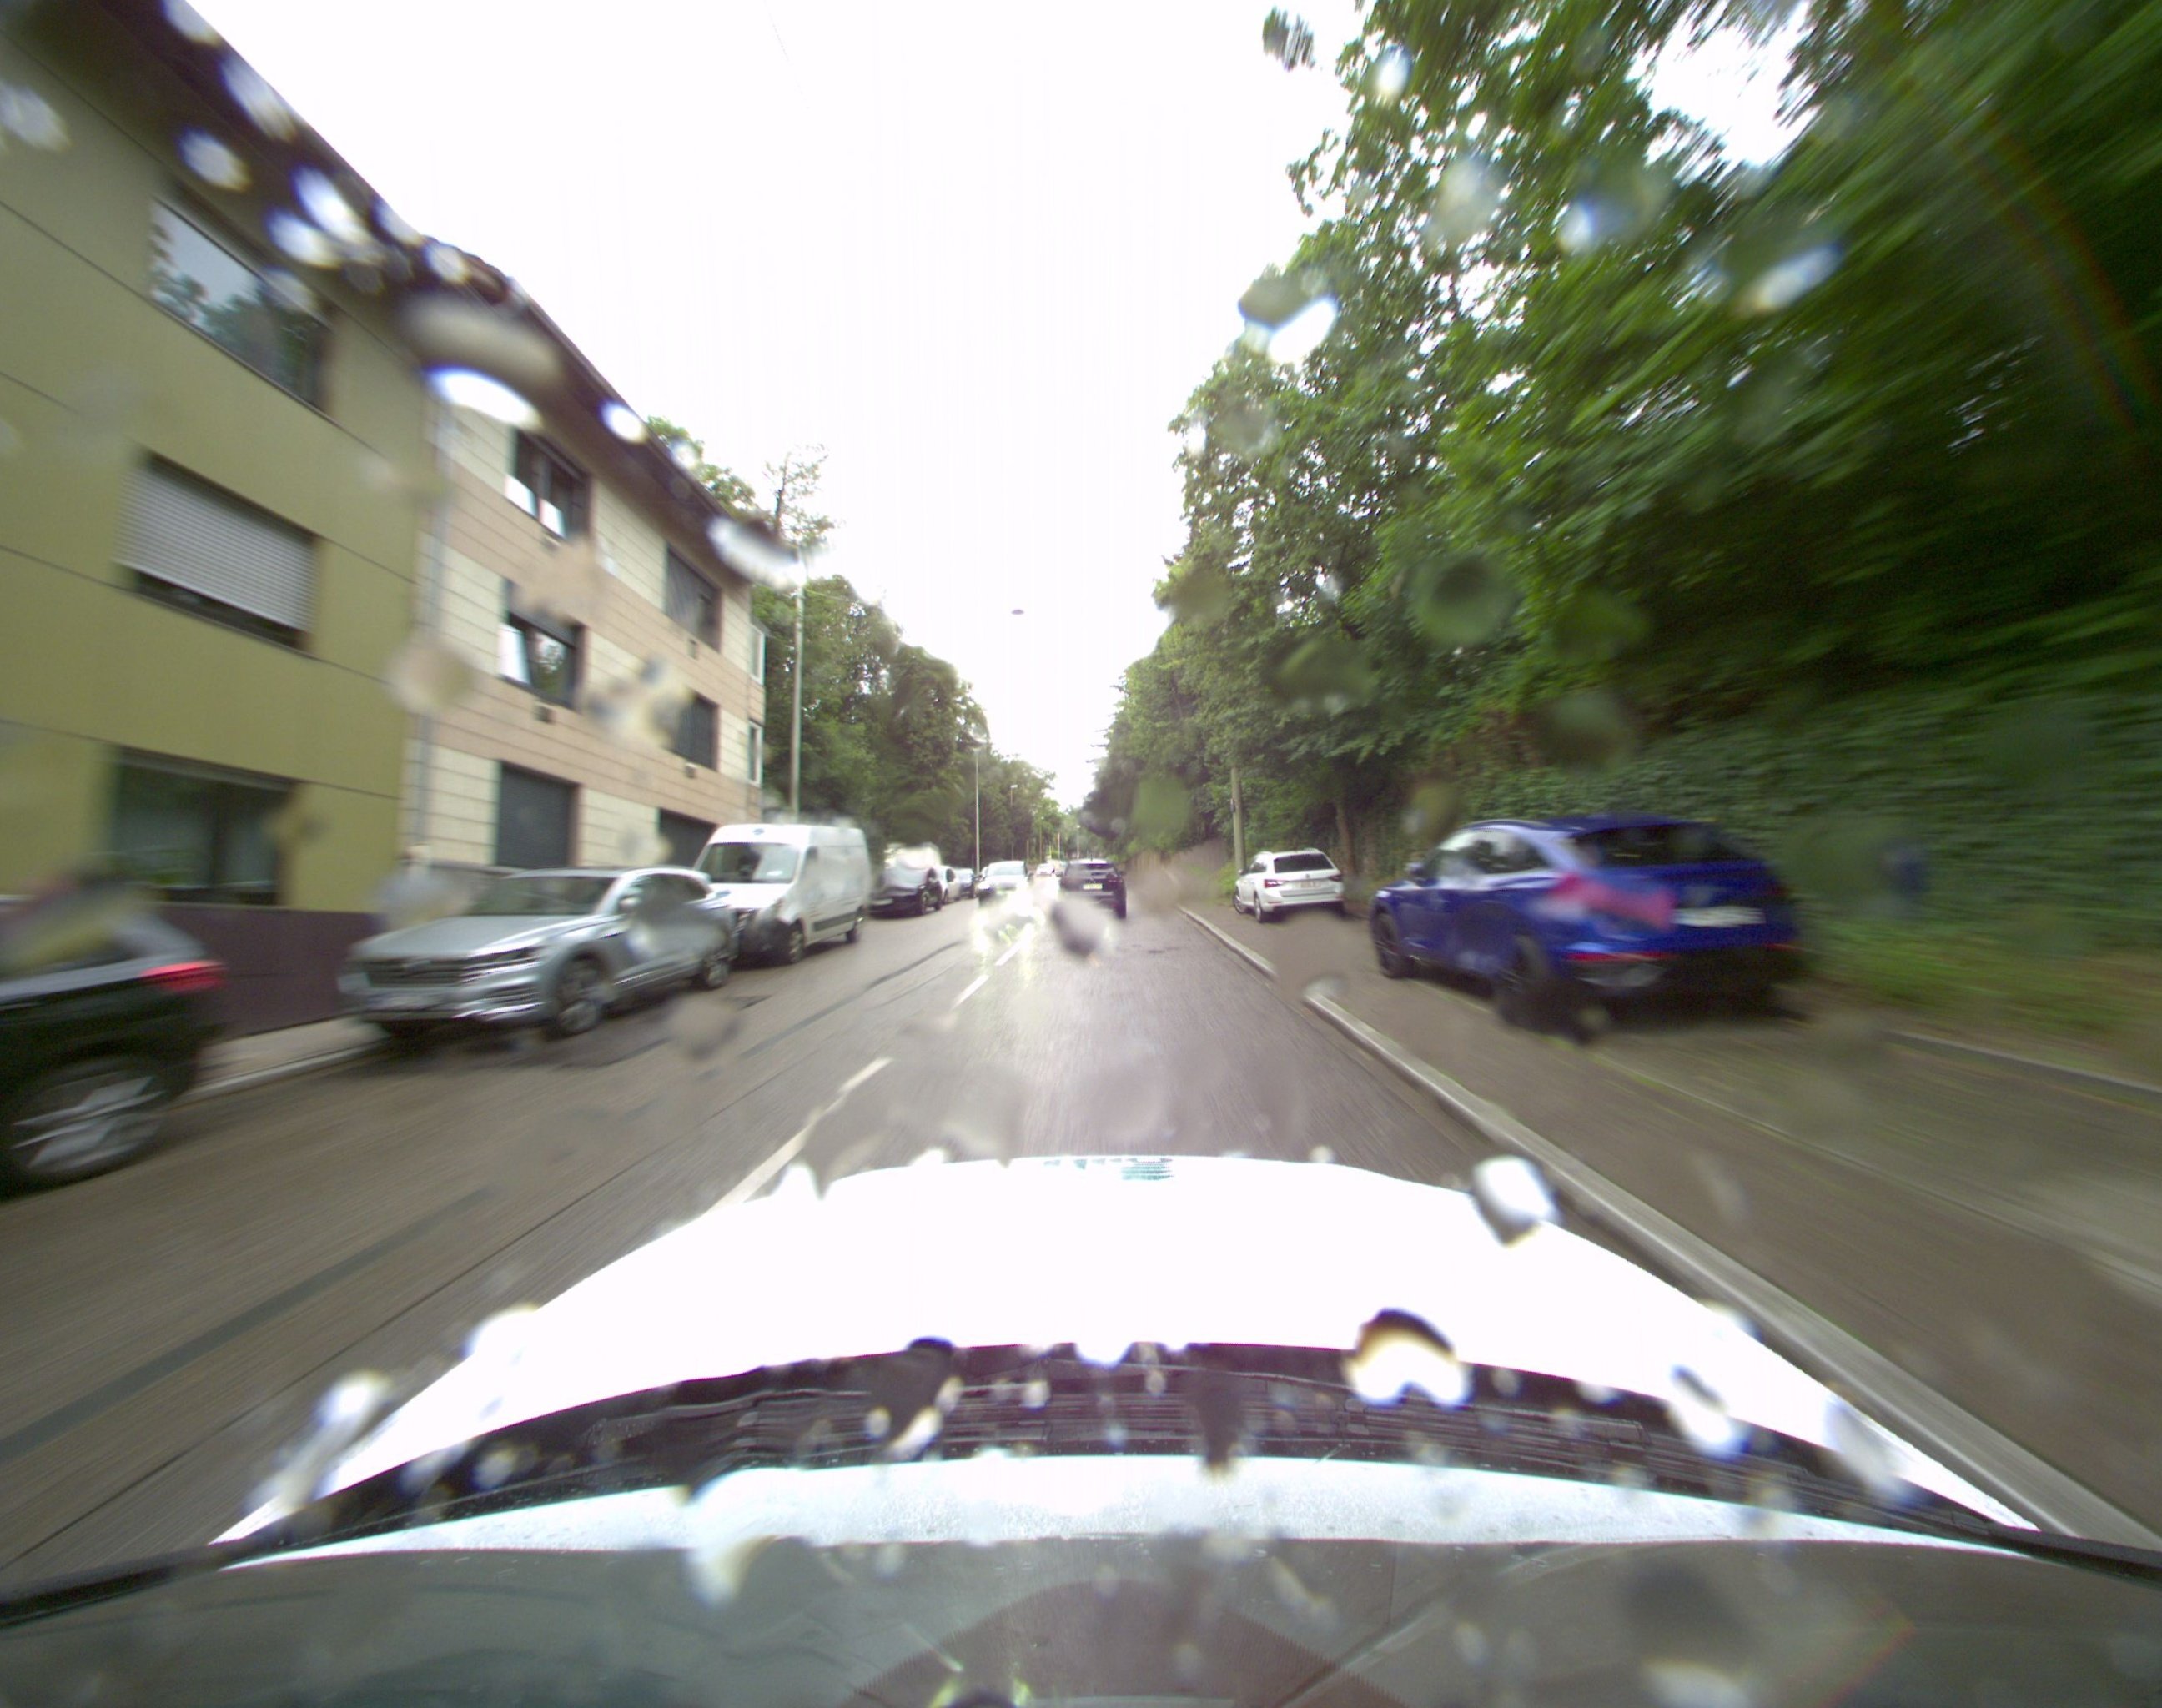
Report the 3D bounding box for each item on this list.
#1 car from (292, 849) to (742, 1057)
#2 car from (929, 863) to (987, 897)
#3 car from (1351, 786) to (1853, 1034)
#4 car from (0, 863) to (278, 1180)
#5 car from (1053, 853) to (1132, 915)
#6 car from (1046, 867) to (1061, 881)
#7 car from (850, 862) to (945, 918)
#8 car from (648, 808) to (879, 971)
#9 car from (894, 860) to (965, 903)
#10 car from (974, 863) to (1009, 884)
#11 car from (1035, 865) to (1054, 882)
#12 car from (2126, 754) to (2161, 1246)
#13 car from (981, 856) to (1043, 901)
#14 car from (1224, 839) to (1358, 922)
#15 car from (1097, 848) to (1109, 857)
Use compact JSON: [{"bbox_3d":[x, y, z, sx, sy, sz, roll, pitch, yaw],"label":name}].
[{"bbox_3d":[-5.929,0.876,9.459,1.983,1.755,4.481,-2,0,1],"label":"car"},{"bbox_3d":[-5.899,1.212,39.478,1.983,1.384,4.458,-2,0,1],"label":"car"},{"bbox_3d":[4.223,0.387,7.662,1.805,1.530,4.416,-4,0,0],"label":"car"},{"bbox_3d":[-6.481,0.894,3.347,1.983,1.585,4.306,-2,0,1],"label":"car"},{"bbox_3d":[0.369,0.764,22.911,1.986,1.559,4.002,-1,0,2],"label":"car"},{"bbox_3d":[-3.946,2.859,117.847,1.987,1.948,3.999,-1,-2,0],"label":"car"},{"bbox_3d":[-5.923,1.117,26.908,1.983,1.566,4.458,-2,0,1],"label":"car"},{"bbox_3d":[-5.689,0.557,15.651,1.983,2.475,5.785,-2,0,1],"label":"car"},{"bbox_3d":[-6.175,1.084,33.667,1.983,1.566,4.458,-2,0,1],"label":"car"},{"bbox_3d":[-6.515,1.412,59.890,1.983,1.384,4.458,-2,0,1],"label":"car"},{"bbox_3d":[-4.156,2.247,92.864,1.987,1.948,3.999,-1,-2,0],"label":"car"},{"bbox_3d":[4.073,0.438,0.578,1.626,1.530,4.003,-1,0,3],"label":"car"},{"bbox_3d":[-2.572,0.893,31.151,1.987,1.559,4.000,-1,0,0],"label":"car"},{"bbox_3d":[4.592,0.545,18.491,1.805,1.530,4.416,-4,0,0],"label":"car"},{"bbox_3d":[4.337,-0.297,160.620,1.985,1.560,4.004,-3,-2,4],"label":"car"}]
